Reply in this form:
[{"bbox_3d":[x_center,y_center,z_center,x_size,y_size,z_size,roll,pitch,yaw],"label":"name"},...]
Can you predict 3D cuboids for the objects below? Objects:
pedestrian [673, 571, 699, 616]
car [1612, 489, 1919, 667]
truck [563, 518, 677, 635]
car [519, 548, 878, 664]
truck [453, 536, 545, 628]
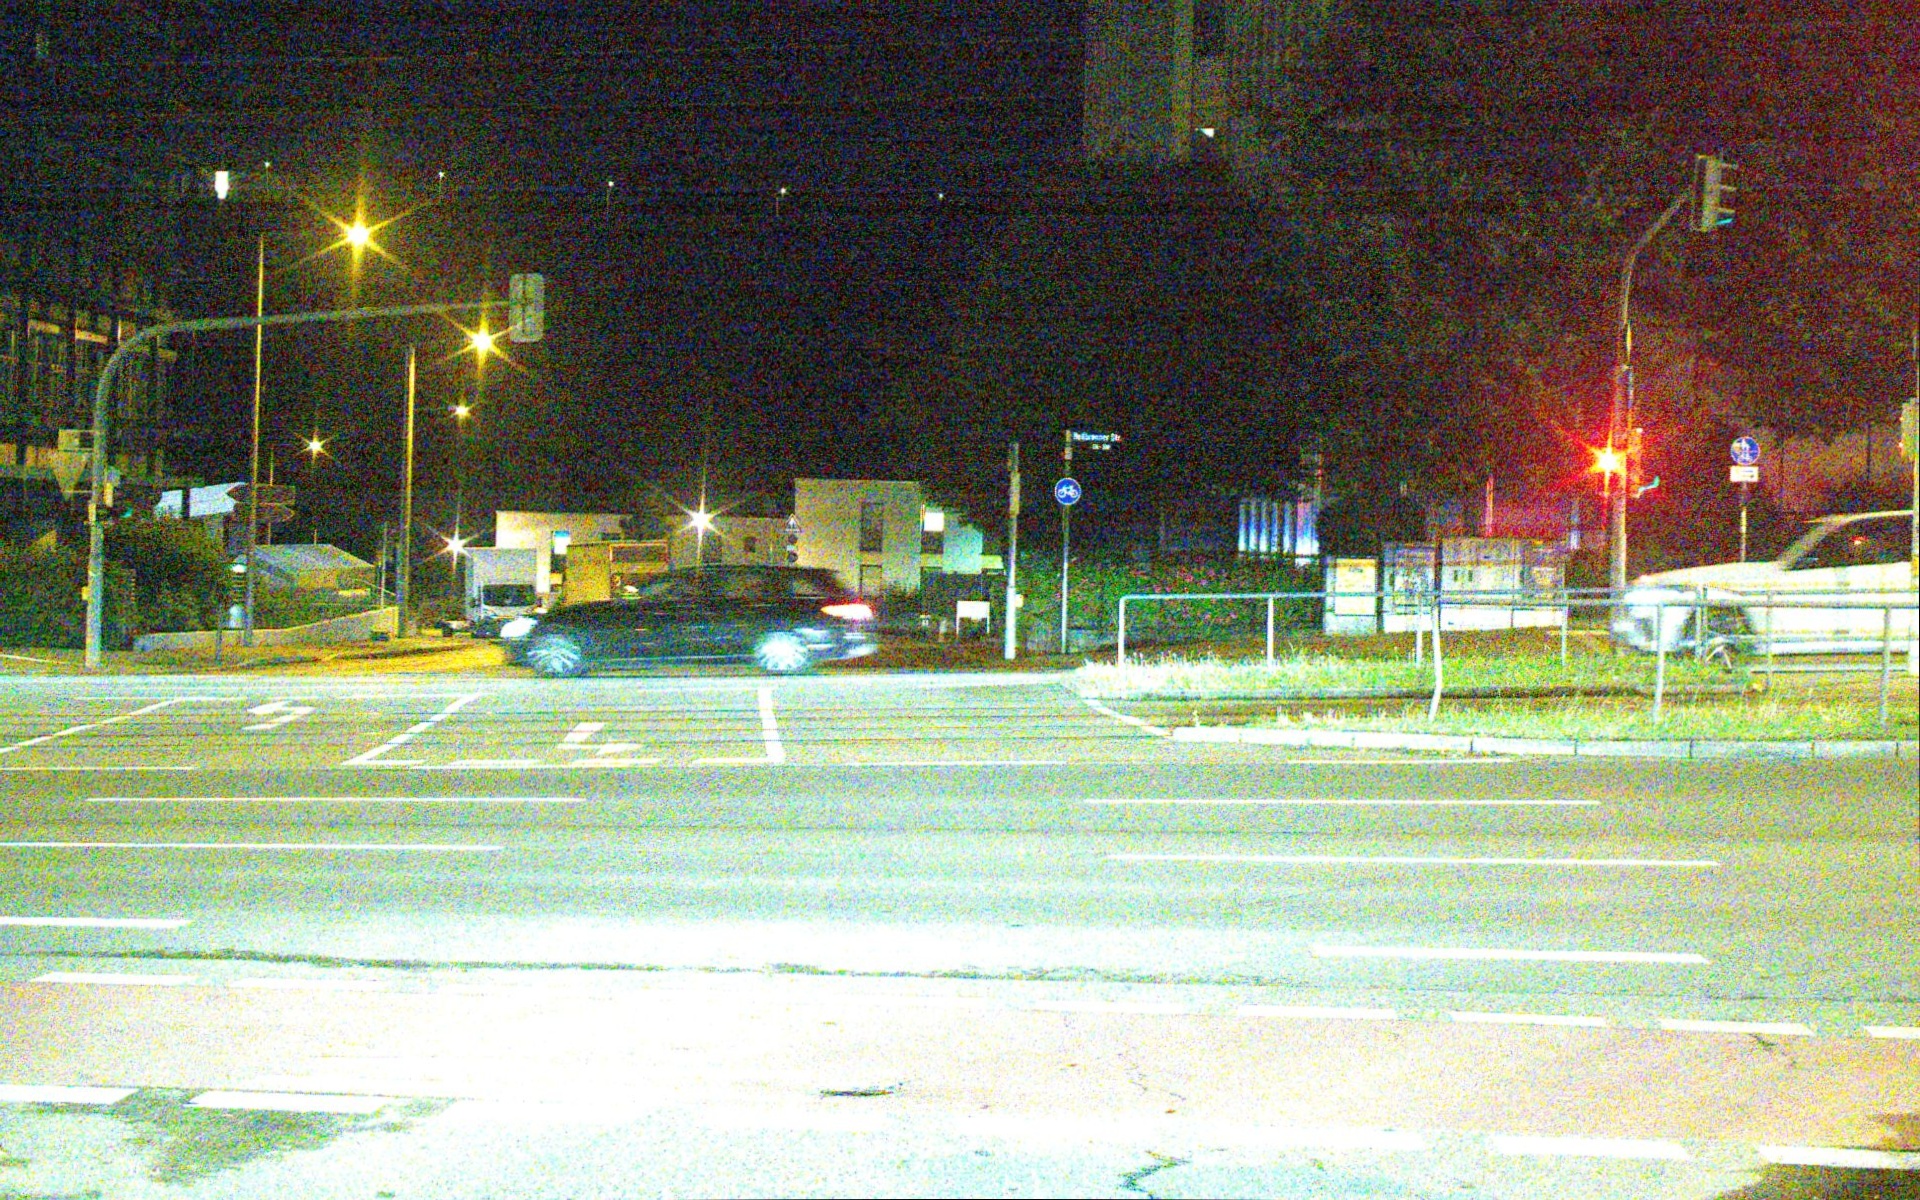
[{"bbox_3d":[-11.763,-0.273,147.660,0.849,1.905,1.007,1,0,-18],"label":"pedestrian"},{"bbox_3d":[9.489,-0.230,36.610,4.780,1.838,1.843,0,0,3],"label":"car"},{"bbox_3d":[-14.786,-0.999,148.844,3.359,4.826,7.908,1,0,-17],"label":"truck"},{"bbox_3d":[-3.272,0.078,43.579,4.327,1.383,1.843,-1,0,3],"label":"car"},{"bbox_3d":[-16.079,-0.616,119.665,2.417,3.078,6.439,1,0,-14],"label":"truck"}]
